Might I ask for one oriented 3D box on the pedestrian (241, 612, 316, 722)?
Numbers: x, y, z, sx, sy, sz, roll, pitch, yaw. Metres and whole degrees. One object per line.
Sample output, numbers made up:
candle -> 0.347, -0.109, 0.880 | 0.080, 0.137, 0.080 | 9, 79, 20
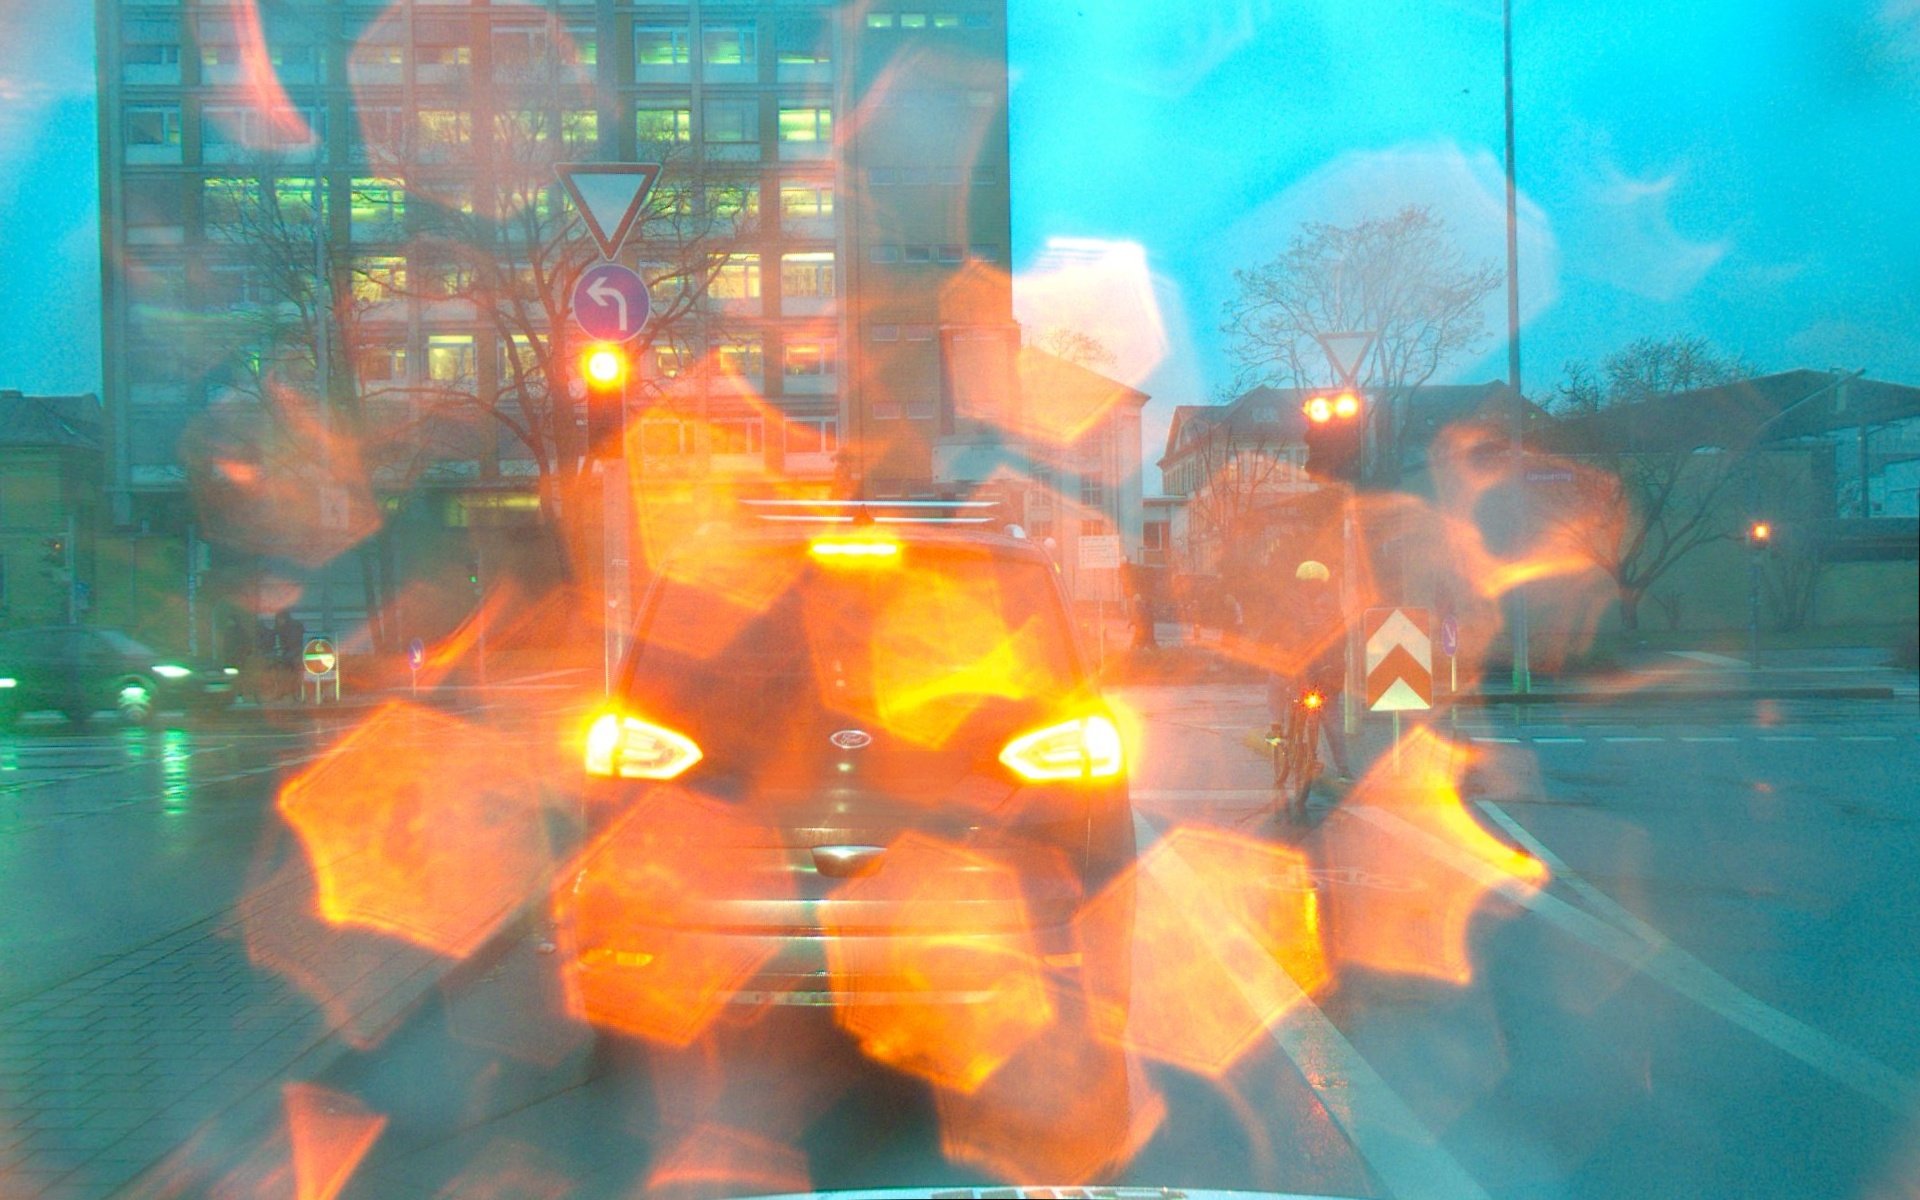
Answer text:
pedestrian -> -12.930, 1.254, 31.382 | 0.908, 2.013, 0.960 | -2, 0, 5

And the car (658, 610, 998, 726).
car -> -1.857, 0.966, 23.669 | 4.480, 1.503, 1.812 | -2, -1, 14

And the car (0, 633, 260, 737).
car -> -13.376, 1.335, 26.248 | 3.871, 1.503, 1.812 | -2, -1, 16

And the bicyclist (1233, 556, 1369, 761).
bicyclist -> 2.575, 0.429, 12.600 | 0.767, 1.478, 1.133 | 1, 0, -1

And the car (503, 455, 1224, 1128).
car -> -0.288, 0.538, 6.550 | 1.953, 1.821, 3.999 | 1, 0, -1

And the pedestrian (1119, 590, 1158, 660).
pedestrian -> 4.827, 0.665, 44.700 | 0.975, 1.831, 0.920 | -2, 0, 8

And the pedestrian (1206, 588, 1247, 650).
pedestrian -> 6.929, 0.483, 43.058 | 0.905, 1.559, 1.043 | -2, 0, 4

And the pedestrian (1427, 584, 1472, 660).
pedestrian -> 14.253, 0.626, 48.163 | 0.869, 2.150, 0.891 | -2, 0, -18

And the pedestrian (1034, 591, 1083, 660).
pedestrian -> 2.592, 0.670, 43.463 | 1.111, 1.750, 0.982 | -2, 0, 10

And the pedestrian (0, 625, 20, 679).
pedestrian -> -31.477, 1.715, 54.440 | 0.625, 1.718, 0.637 | -2, 0, 16

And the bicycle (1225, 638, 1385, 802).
bicycle -> 2.575, 0.862, 12.557 | 0.767, 1.094, 1.956 | 1, 0, -1

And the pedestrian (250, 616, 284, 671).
pedestrian -> -21.355, 1.323, 50.980 | 0.743, 1.656, 0.558 | -2, 0, 14

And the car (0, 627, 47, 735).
car -> -15.710, 1.213, 23.727 | 4.480, 1.503, 1.813 | -2, -1, 13

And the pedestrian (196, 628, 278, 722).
pedestrian -> -15.241, 1.570, 34.883 | 0.980, 1.874, 1.139 | -2, 2, 20
